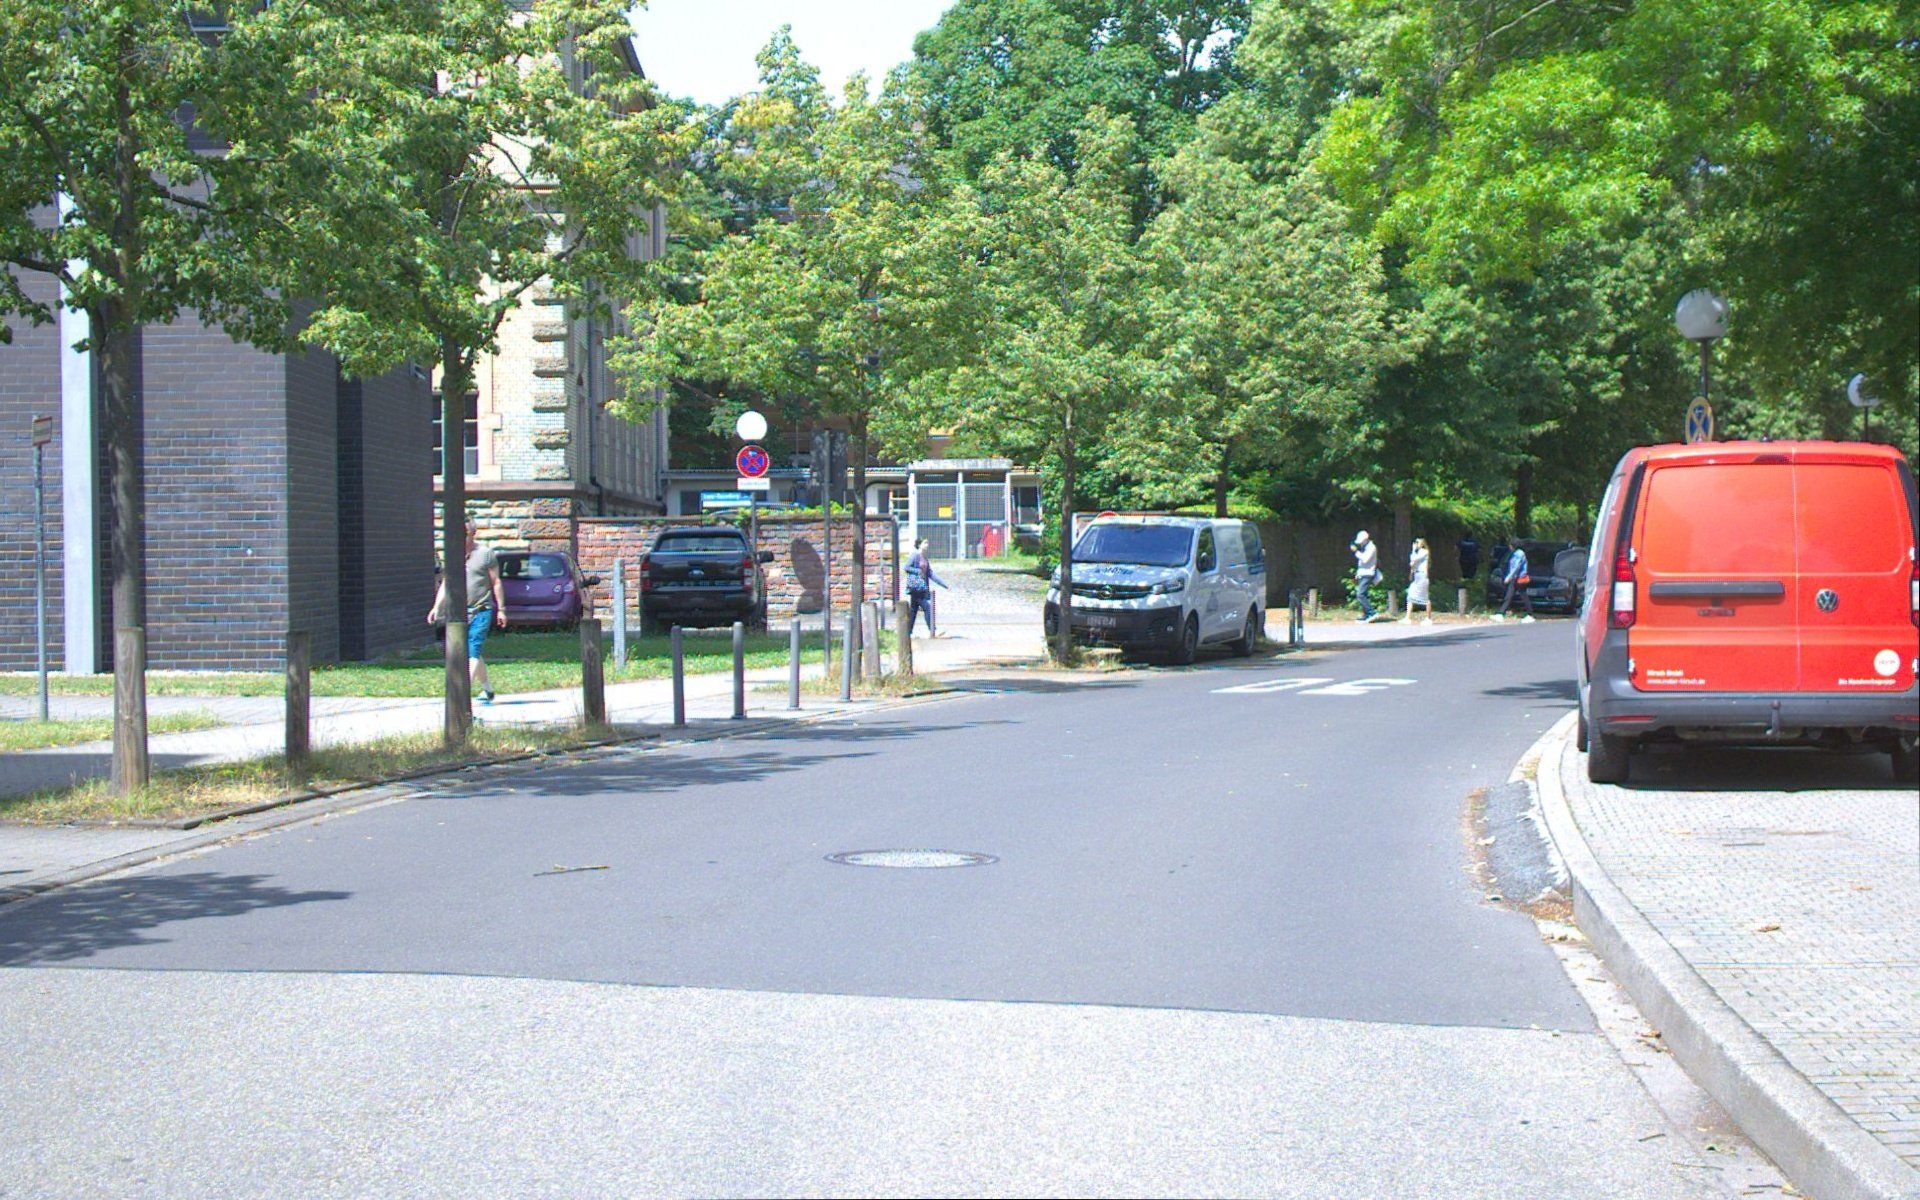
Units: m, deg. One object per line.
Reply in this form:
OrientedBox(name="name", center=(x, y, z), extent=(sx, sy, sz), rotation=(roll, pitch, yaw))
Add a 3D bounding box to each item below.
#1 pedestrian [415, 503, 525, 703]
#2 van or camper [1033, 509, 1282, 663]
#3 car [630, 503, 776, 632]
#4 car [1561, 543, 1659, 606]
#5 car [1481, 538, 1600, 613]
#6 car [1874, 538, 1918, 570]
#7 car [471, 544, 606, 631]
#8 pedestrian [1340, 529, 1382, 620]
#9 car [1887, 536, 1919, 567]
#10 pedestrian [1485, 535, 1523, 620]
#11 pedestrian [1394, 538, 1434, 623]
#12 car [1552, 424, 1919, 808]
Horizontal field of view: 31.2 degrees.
OrientedBox(name="pedestrian", center=(-4.397, 0.018, 30.881), extent=(0.584, 1.758, 0.910), rotation=(0, 1, 22))
OrientedBox(name="van or camper", center=(2.726, -0.236, 46.094), extent=(1.955, 1.916, 5.415), rotation=(1, 1, 18))
OrientedBox(name="car", center=(-4.019, -0.535, 54.203), extent=(2.174, 1.919, 5.187), rotation=(0, 1, -4))
OrientedBox(name="car", center=(14.799, -0.596, 78.193), extent=(1.617, 1.383, 3.996), rotation=(0, 1, 19))
OrientedBox(name="car", center=(12.024, -0.525, 71.084), extent=(1.761, 1.516, 4.108), rotation=(0, 1, 19))
OrientedBox(name="car", center=(39.784, -1.962, 146.116), extent=(1.617, 1.360, 3.997), rotation=(0, 1, 18))
OrientedBox(name="car", center=(-6.598, -0.221, 54.118), extent=(1.817, 1.319, 3.768), rotation=(0, 1, -3))
OrientedBox(name="pedestrian", center=(7.367, -0.470, 63.135), extent=(0.626, 1.657, 0.603), rotation=(0, 1, -7))
OrientedBox(name="car", center=(42.873, -2.192, 155.467), extent=(1.617, 1.360, 4.558), rotation=(0, 1, 18))
OrientedBox(name="pedestrian", center=(10.120, -0.420, 63.978), extent=(0.494, 1.580, 0.494), rotation=(-1, 1, -32))
OrientedBox(name="pedestrian", center=(8.194, -0.353, 62.009), extent=(0.583, 1.522, 0.494), rotation=(-1, 1, -11))
OrientedBox(name="car", center=(4.372, 0.037, 19.476), extent=(1.849, 1.885, 4.889), rotation=(-1, 1, 8))
